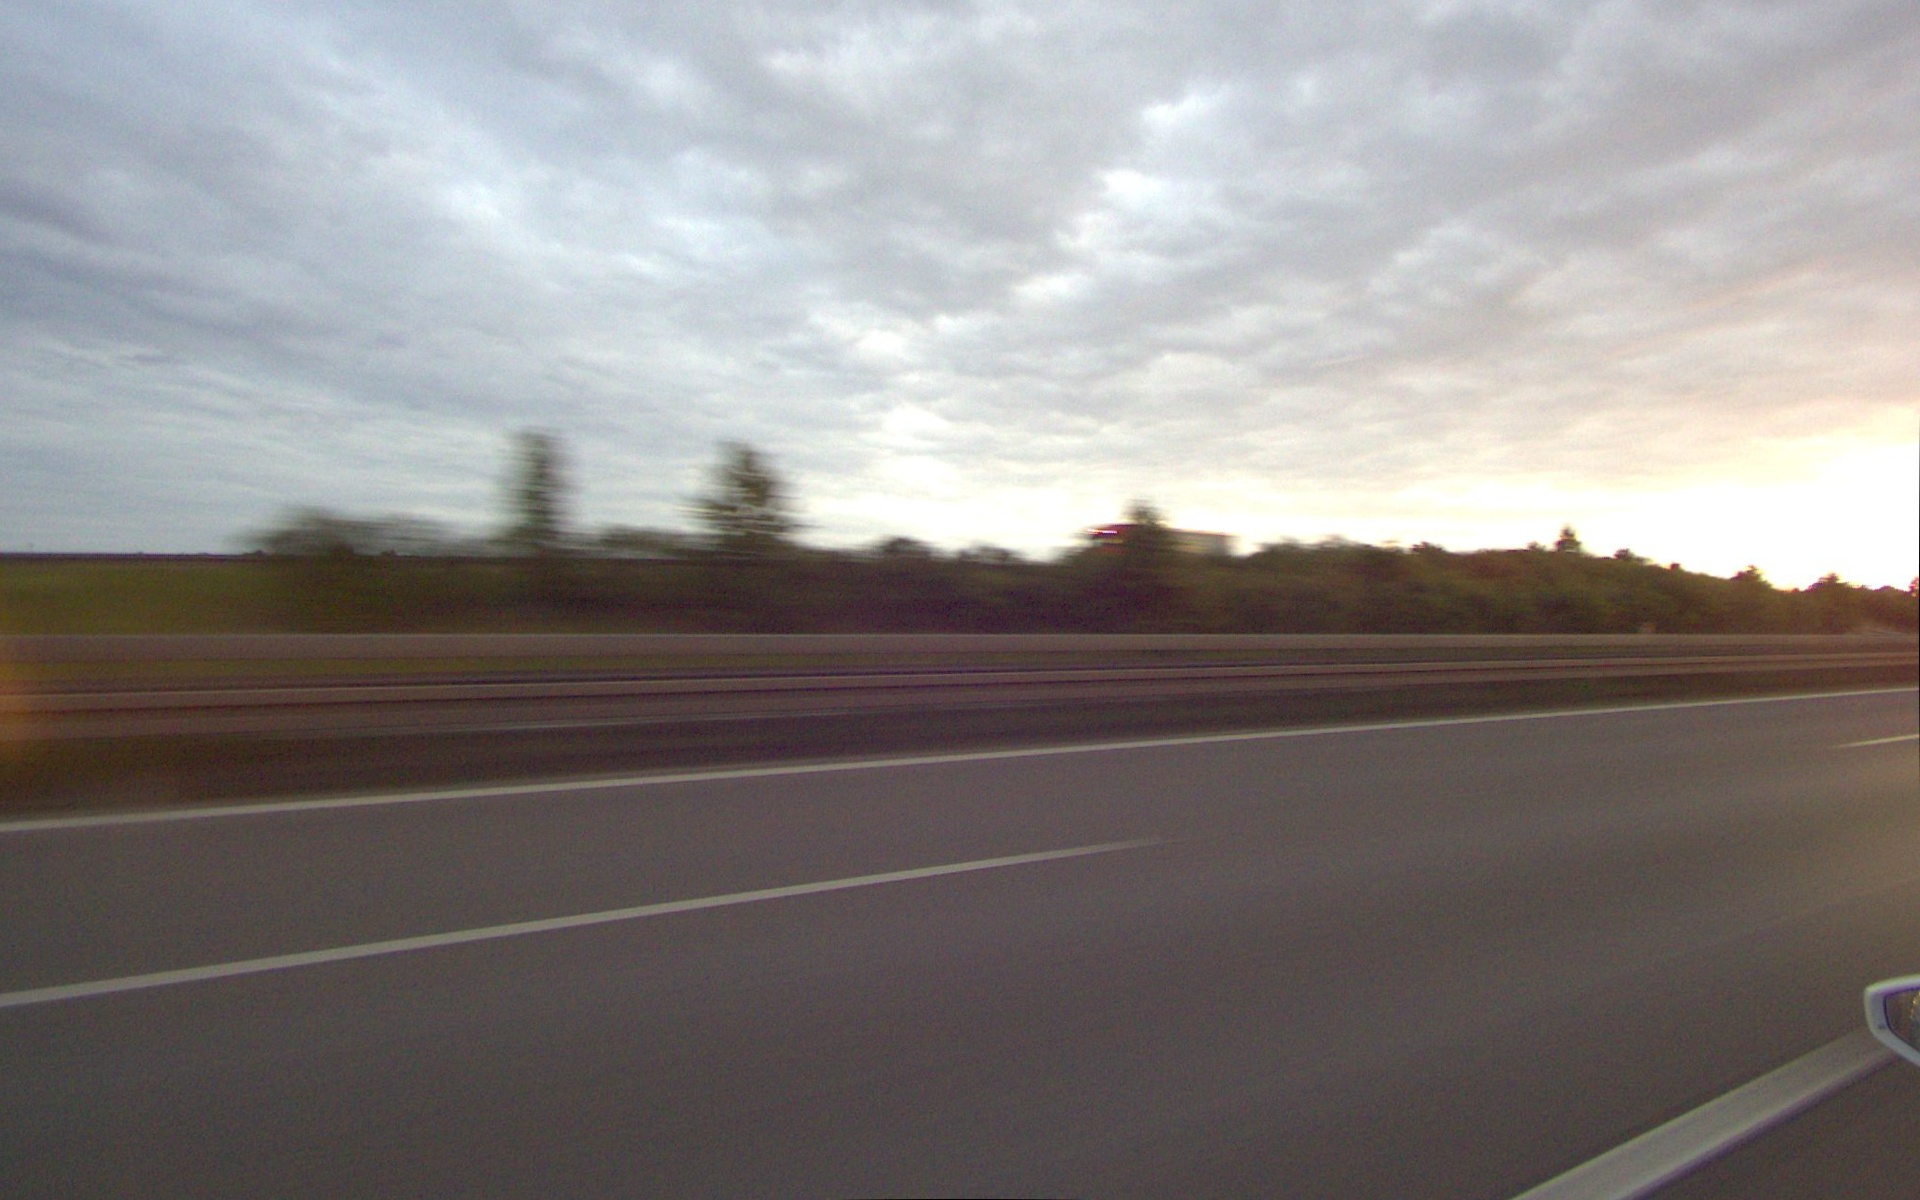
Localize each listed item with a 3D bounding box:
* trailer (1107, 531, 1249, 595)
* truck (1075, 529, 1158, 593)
[{"bbox_3d":[16.156,-2.545,73.680,12.371,4.125,2.672,1,-1,-36],"label":"trailer"},{"bbox_3d":[10.901,-2.604,69.868,5.424,4.125,2.672,1,-1,-36],"label":"truck"}]
